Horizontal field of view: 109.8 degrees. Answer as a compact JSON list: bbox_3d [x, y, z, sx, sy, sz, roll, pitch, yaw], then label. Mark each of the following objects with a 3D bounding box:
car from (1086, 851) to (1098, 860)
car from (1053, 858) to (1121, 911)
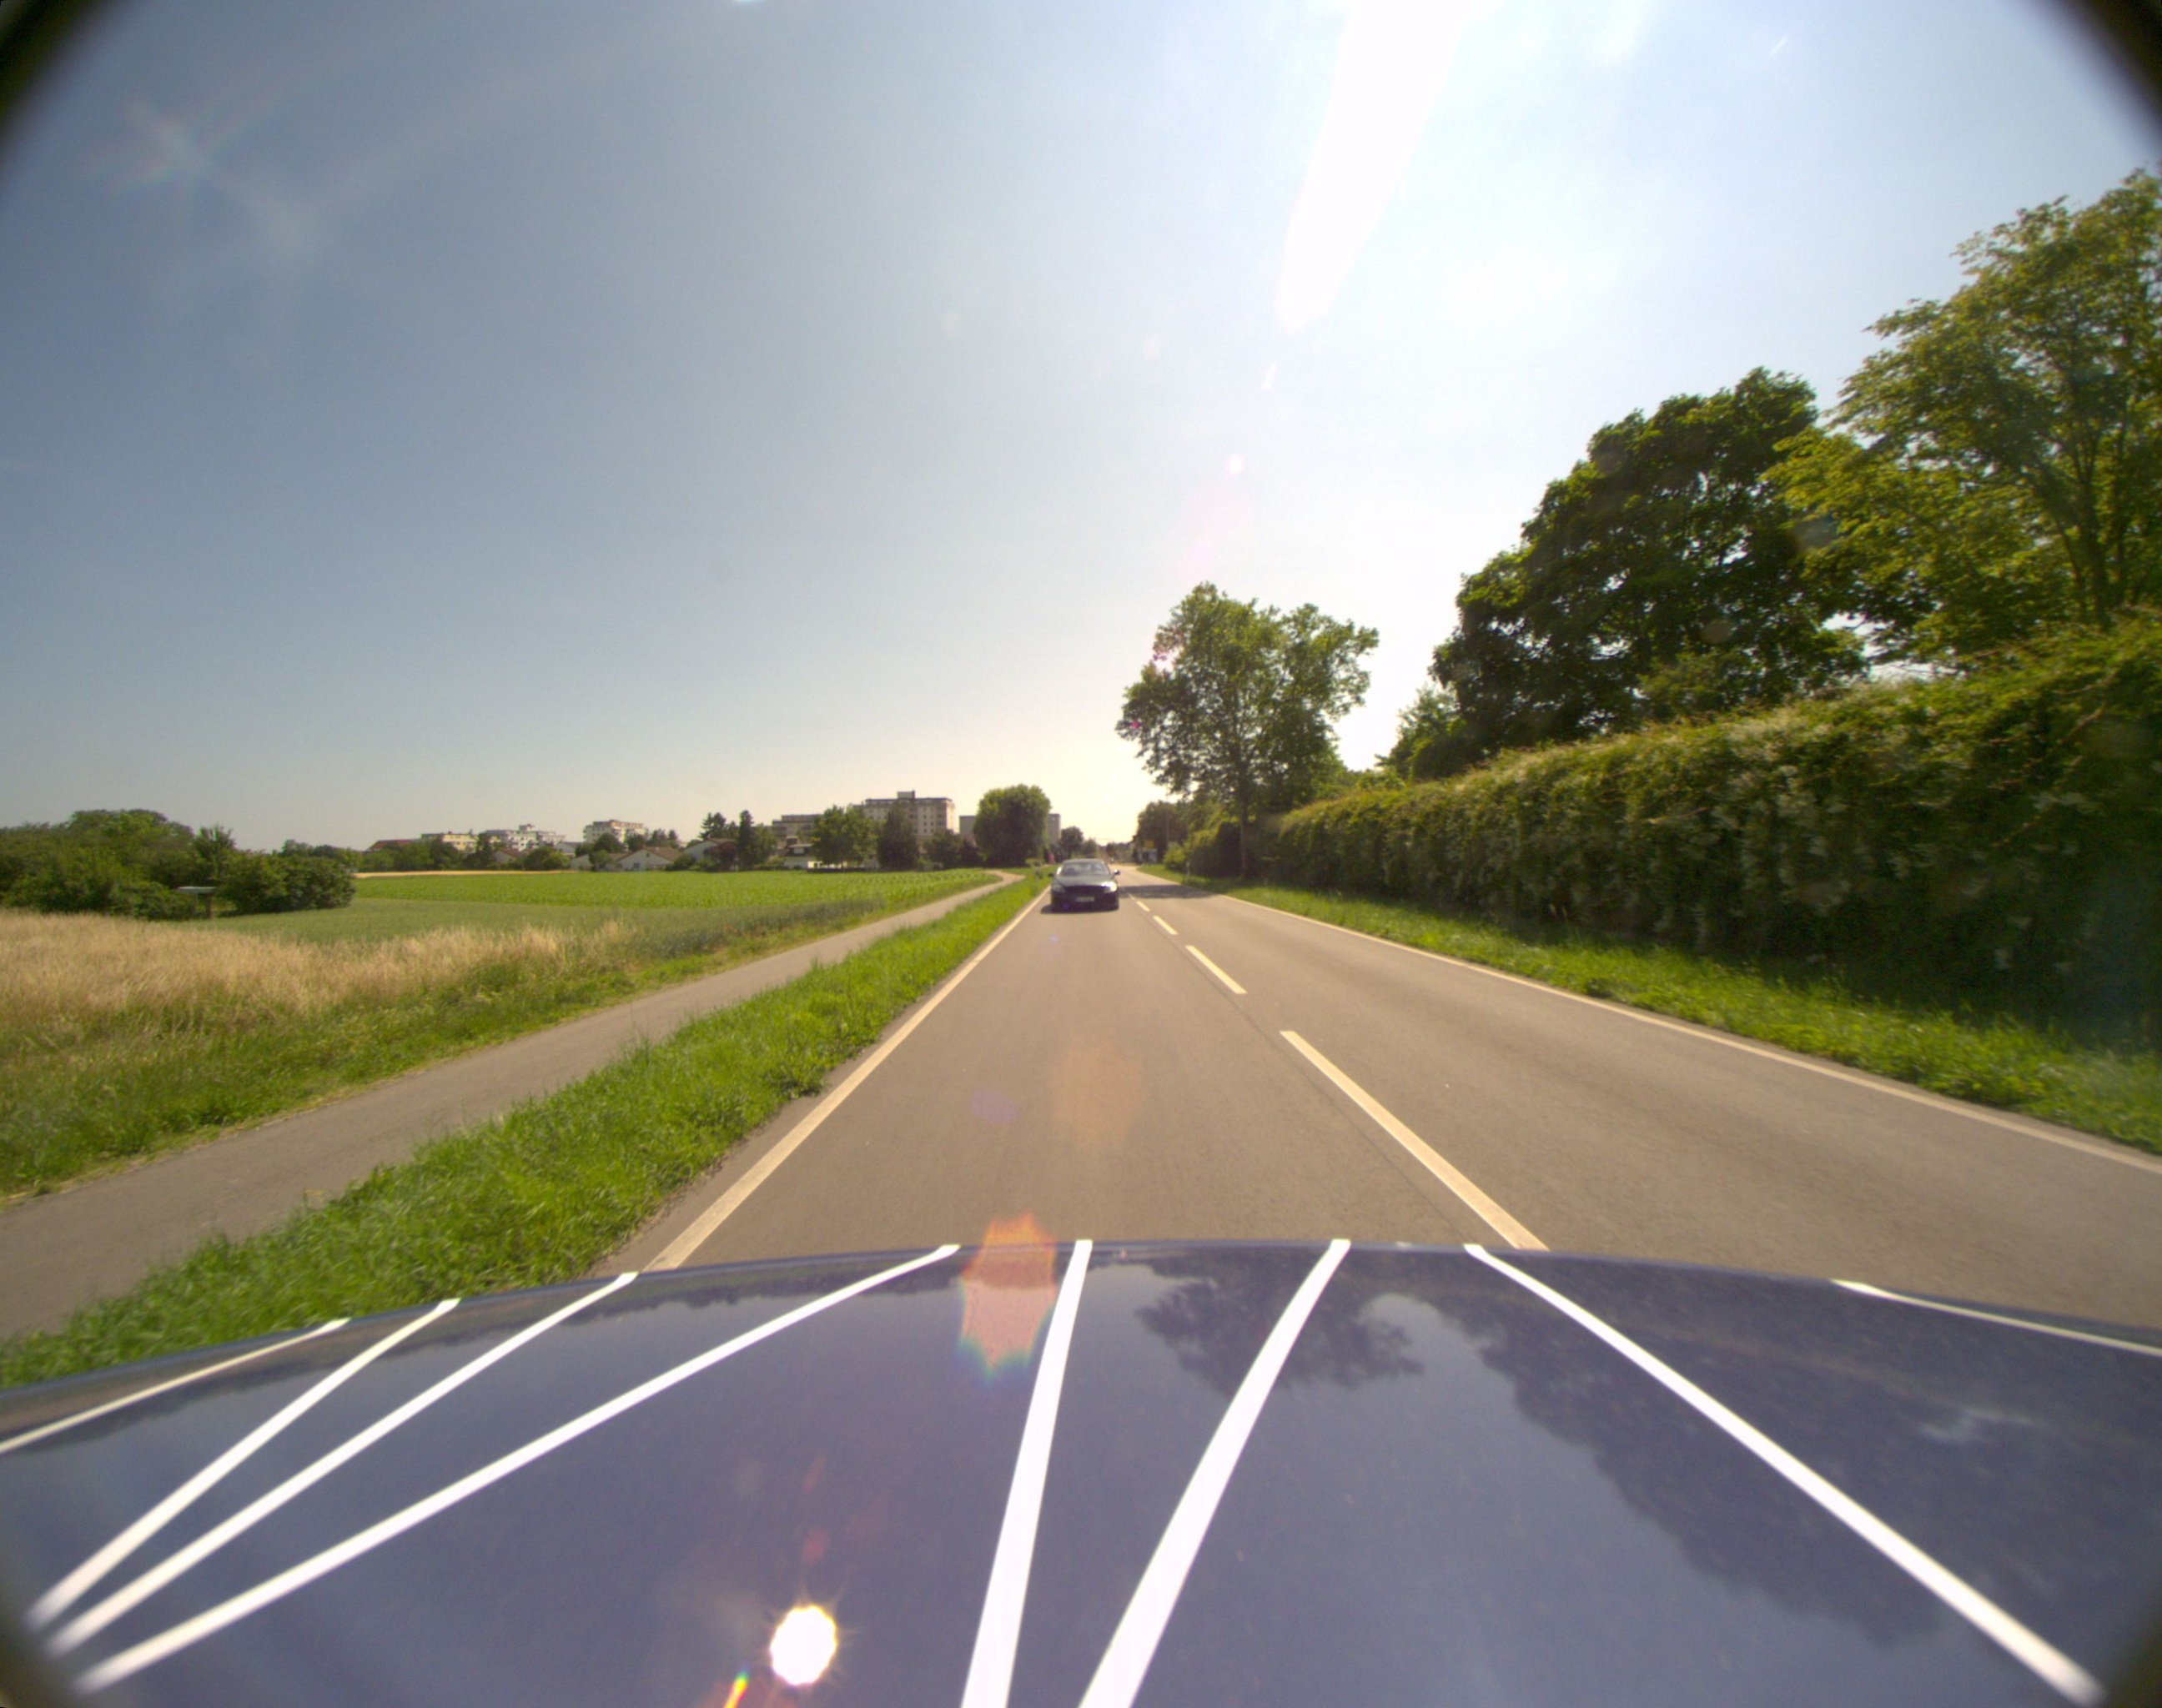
[{"bbox_3d":[2.459,0.363,171.434,2.150,1.940,5.245,0,0,-5],"label":"car"},{"bbox_3d":[0.074,0.895,24.275,1.889,1.429,4.837,-2,0,-2],"label":"car"}]
